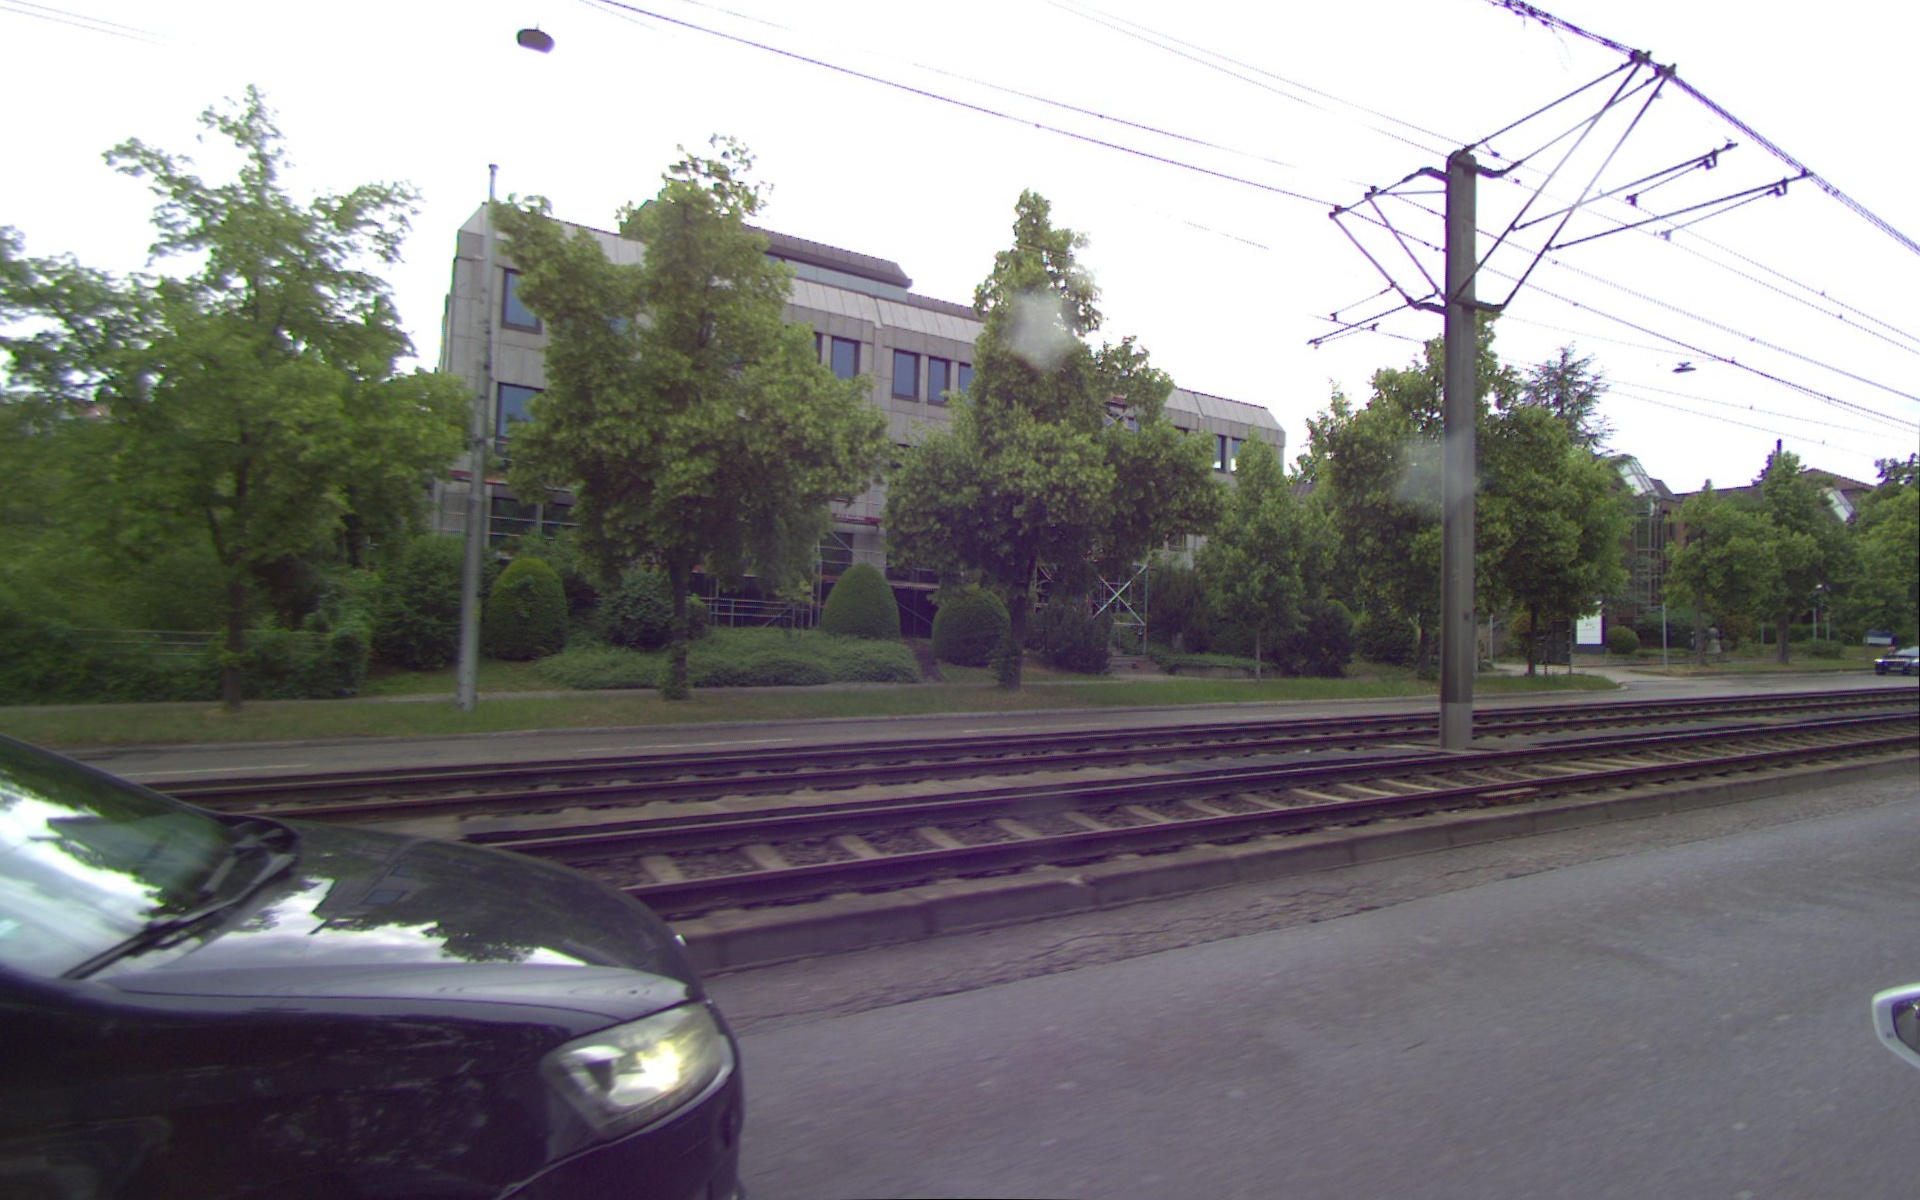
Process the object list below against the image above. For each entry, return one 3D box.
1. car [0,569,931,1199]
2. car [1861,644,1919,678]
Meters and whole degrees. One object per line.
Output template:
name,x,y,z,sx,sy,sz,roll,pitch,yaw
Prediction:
car,-2.175,0.734,1.633,3.920,1.505,1.785,1,-2,-32
car,45.982,2.947,49.028,4.570,1.550,1.785,1,-2,-32
